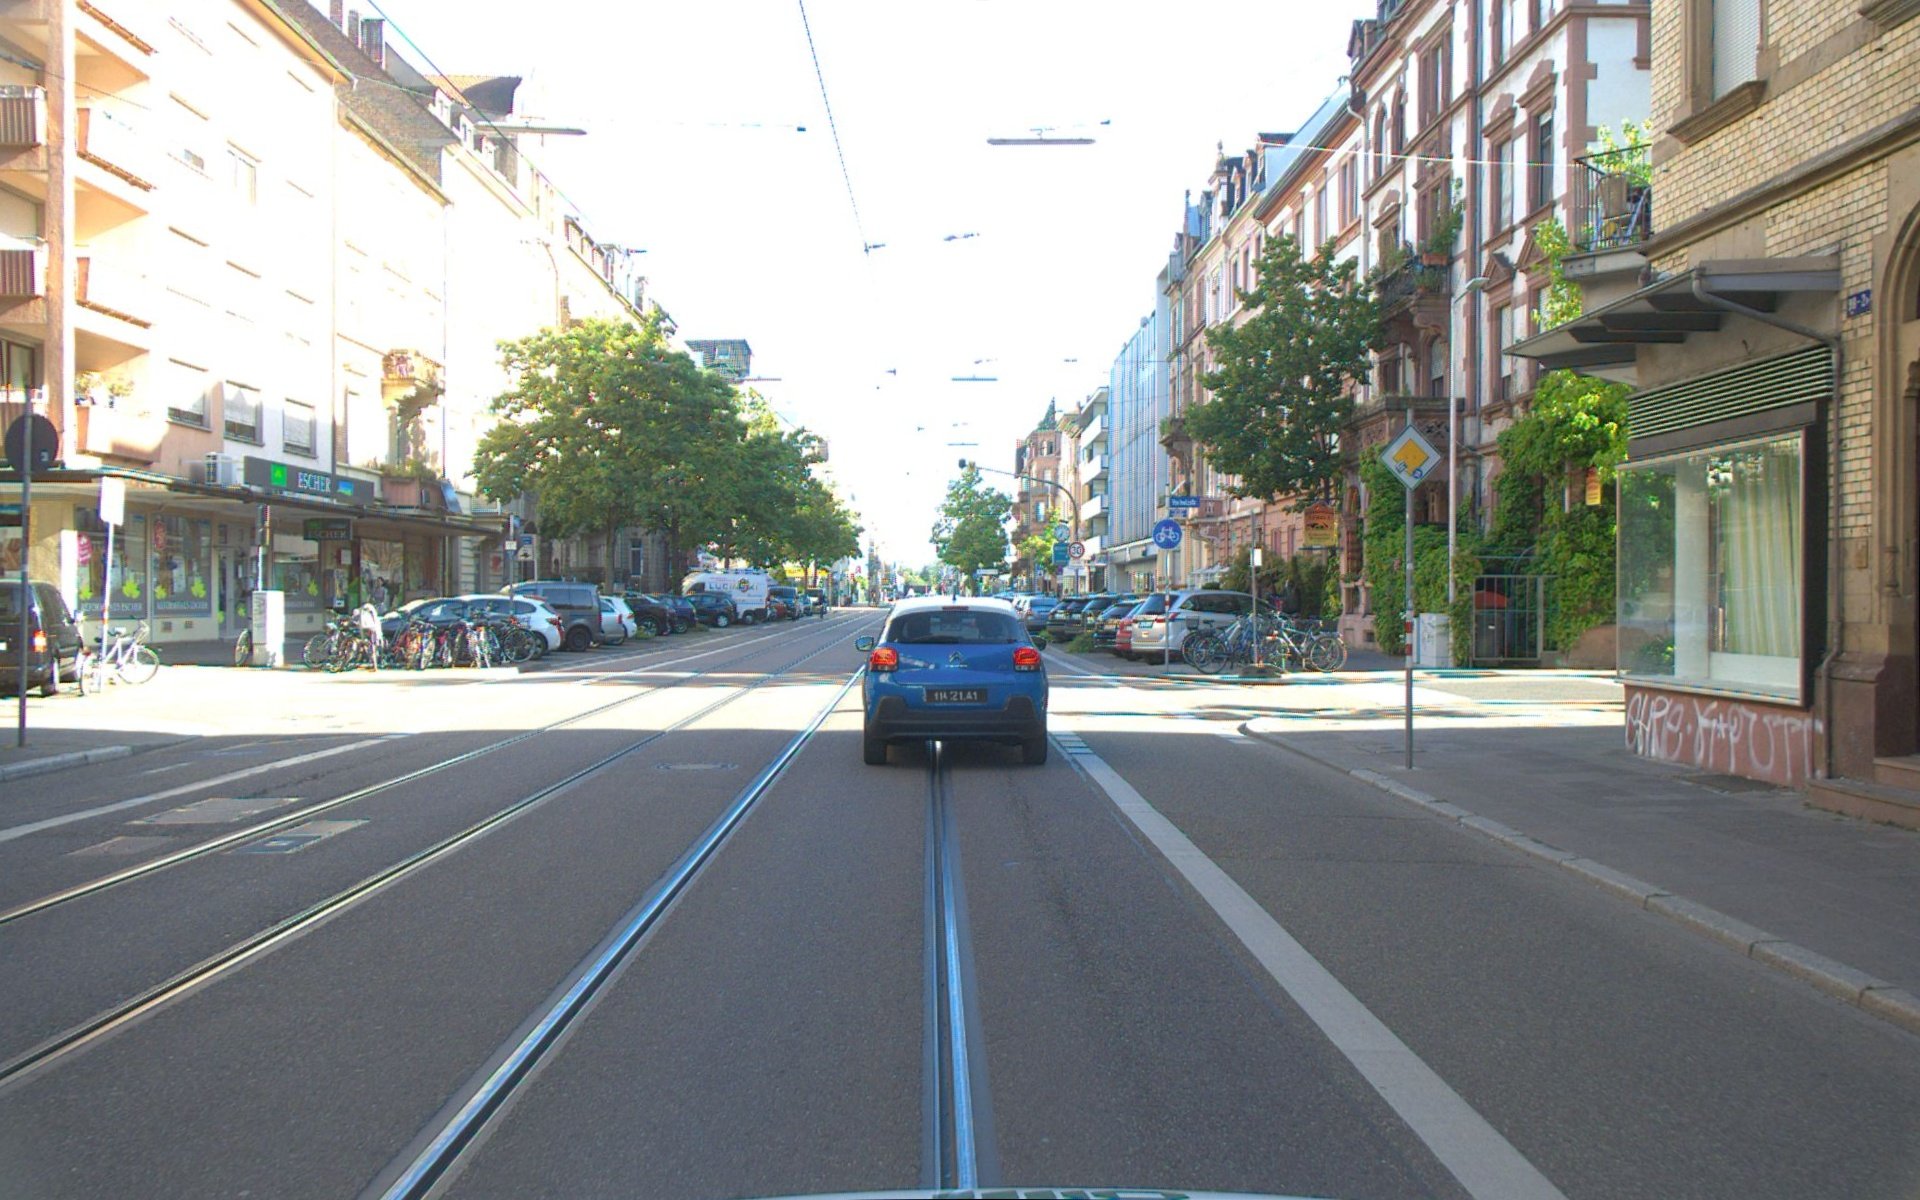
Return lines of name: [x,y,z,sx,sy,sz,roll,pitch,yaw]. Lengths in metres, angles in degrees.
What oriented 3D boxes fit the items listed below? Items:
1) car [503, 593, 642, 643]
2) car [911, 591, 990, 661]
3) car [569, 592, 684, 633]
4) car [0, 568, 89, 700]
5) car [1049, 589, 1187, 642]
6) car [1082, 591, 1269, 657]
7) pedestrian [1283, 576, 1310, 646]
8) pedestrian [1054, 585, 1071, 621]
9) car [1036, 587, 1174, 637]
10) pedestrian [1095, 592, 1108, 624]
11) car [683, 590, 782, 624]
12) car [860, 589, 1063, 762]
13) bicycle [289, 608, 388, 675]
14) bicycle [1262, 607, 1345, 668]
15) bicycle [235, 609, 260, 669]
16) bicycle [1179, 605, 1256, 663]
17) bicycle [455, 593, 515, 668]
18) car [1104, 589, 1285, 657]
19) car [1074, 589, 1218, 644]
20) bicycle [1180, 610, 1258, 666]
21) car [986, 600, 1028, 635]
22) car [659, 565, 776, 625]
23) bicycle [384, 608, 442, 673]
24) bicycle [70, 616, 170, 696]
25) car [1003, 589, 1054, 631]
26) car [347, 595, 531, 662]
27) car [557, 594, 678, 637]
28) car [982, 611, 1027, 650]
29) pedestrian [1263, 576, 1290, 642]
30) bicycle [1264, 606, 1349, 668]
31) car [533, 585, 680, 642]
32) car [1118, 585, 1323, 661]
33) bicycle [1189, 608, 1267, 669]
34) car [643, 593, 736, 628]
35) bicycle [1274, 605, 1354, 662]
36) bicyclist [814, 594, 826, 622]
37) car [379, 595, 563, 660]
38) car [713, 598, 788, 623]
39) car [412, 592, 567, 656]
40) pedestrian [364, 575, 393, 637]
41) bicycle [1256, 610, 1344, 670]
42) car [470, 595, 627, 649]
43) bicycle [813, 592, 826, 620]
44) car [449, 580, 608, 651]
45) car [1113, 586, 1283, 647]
car: [-11.723,0.554,50.052,3.786,1.455,1.750,1,0,-27]
car: [-0.240,0.609,40.584,1.835,1.624,3.999,1,0,-1]
car: [-12.660,0.474,62.886,3.943,1.515,1.789,1,0,-29]
car: [-15.876,0.514,27.613,1.818,1.848,4.330,-3,4,-22]
car: [5.065,0.502,53.178,3.937,1.624,2.070,1,0,-26]
car: [5.541,0.614,42.482,4.379,1.624,2.071,1,0,-26]
pedestrian: [8.782,0.286,43.209,0.507,1.809,0.863,1,0,-1]
pedestrian: [4.713,0.128,76.134,0.697,1.635,0.654,1,0,-2]
car: [4.880,0.409,55.766,4.249,1.624,1.966,1,0,-26]
pedestrian: [8.098,0.458,94.874,0.678,1.787,0.678,1,0,-1]
car: [-11.547,0.370,84.125,4.713,1.646,1.692,1,0,-34]
car: [-0.025,0.657,15.972,1.727,1.466,3.556,1,0,-1]
bicycle: [-11.898,0.770,31.608,2.390,1.128,0.680,3,3,40]
bicycle: [6.630,0.723,31.968,1.523,1.147,0.528,1,0,5]
bicycle: [-13.784,0.741,32.001,0.397,1.129,1.825,0,0,-22]
bicycle: [5.258,0.695,33.780,1.527,1.147,0.295,1,-1,5]
bicycle: [-9.365,0.577,32.689,0.668,1.342,2.433,1,2,-5]
car: [5.642,0.543,39.708,3.937,1.563,1.903,1,0,-26]
car: [5.643,0.499,50.201,3.937,1.624,1.943,1,0,-26]
bicycle: [5.230,0.768,33.454,1.523,1.098,0.307,1,-1,5]
car: [2.203,0.823,79.036,1.835,1.624,3.999,1,0,-1]
car: [-11.733,-0.200,80.189,5.316,2.797,1.787,1,0,-31]
bicycle: [-10.651,0.765,32.185,0.675,1.143,1.867,0,2,-31]
bicycle: [-13.691,0.887,27.040,0.668,1.128,2.432,0,2,-7]
car: [2.756,0.399,67.775,1.835,1.624,4.718,1,0,-1]
car: [-11.066,0.594,35.186,3.431,1.361,1.604,1,0,-36]
car: [-12.403,0.567,59.975,3.951,1.515,1.785,1,0,-34]
car: [1.945,1.327,73.447,1.835,1.624,3.999,1,0,-1]
pedestrian: [8.196,0.225,42.798,0.507,1.677,0.863,1,0,-1]
bicycle: [6.566,0.701,31.390,1.523,1.147,0.552,1,0,5]
car: [-11.581,0.441,54.297,4.314,1.814,1.973,1,0,-34]
car: [5.849,0.522,37.101,4.297,1.624,1.838,1,0,-26]
bicycle: [5.135,0.742,31.701,1.373,1.147,0.549,1,0,-13]
car: [-12.173,0.457,74.470,3.924,1.515,1.797,1,0,-18]
bicycle: [7.210,0.678,33.734,1.523,1.147,0.552,1,0,5]
bicyclist: [-8.710,0.517,102.890,0.621,1.711,0.726,1,0,-1]
car: [-11.248,0.619,38.118,3.746,1.424,1.734,1,0,-34]
car: [-11.429,0.587,90.204,3.751,1.287,1.503,1,0,-27]
car: [-11.642,0.557,40.939,3.423,1.499,1.632,0,1,-30]
pedestrian: [-15.968,0.177,45.447,0.557,1.681,0.641,1,0,-1]
bicycle: [6.676,0.776,32.544,1.639,1.147,0.552,1,0,5]
car: [-11.572,0.622,46.559,3.970,1.475,1.679,1,0,-34]
bicycle: [-8.714,0.389,102.820,0.666,1.708,2.096,1,0,-1]
car: [-11.427,0.412,43.817,3.769,1.816,1.780,1,0,-30]
car: [6.531,0.461,45.383,4.264,1.624,2.028,1,0,-26]
